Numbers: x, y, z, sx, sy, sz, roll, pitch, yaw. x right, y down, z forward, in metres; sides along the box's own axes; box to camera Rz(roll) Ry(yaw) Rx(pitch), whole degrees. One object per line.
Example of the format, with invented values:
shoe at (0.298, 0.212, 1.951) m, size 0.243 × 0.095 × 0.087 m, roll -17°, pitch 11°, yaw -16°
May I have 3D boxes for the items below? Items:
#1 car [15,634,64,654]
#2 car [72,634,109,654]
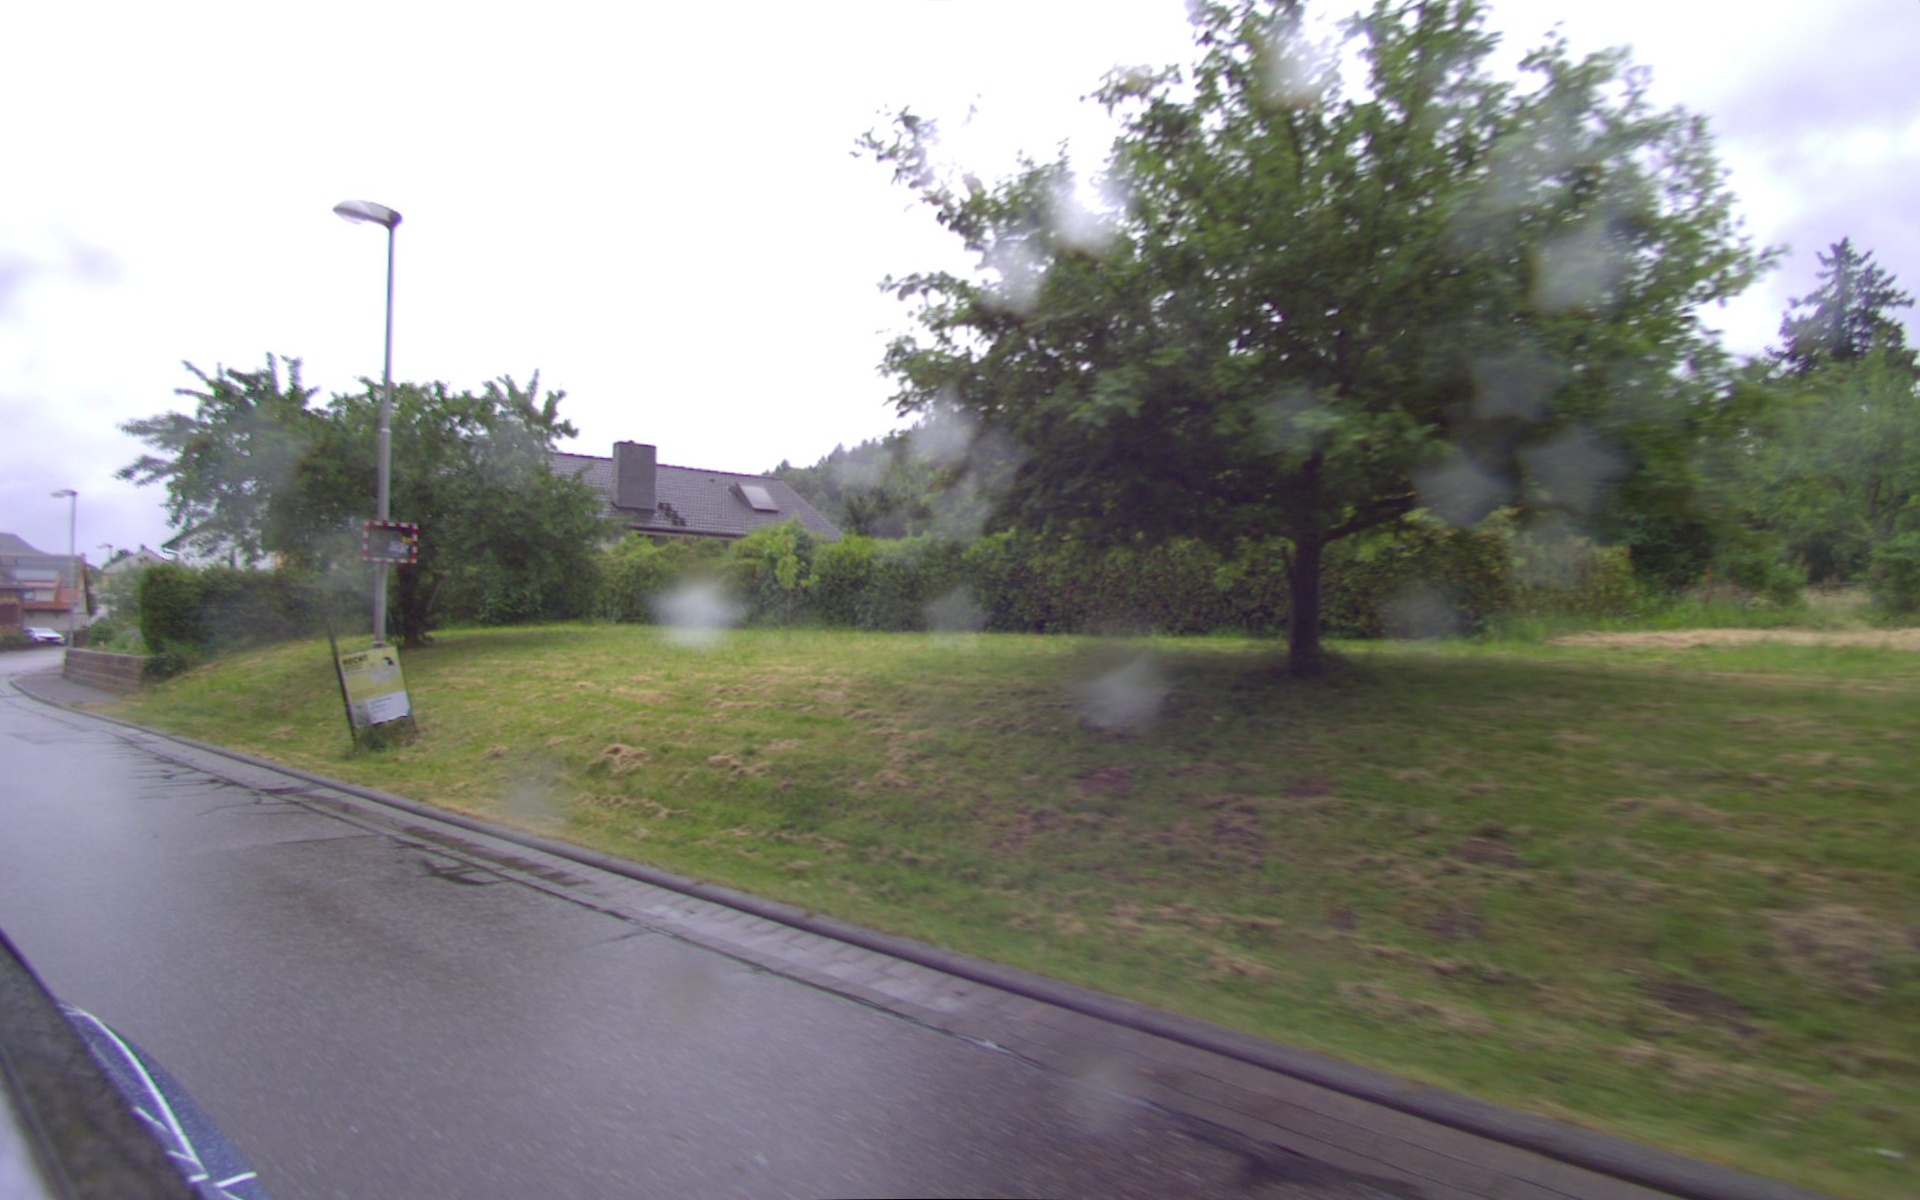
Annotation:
car at (-77.626, 3.745, 85.373) m, size 3.873 × 1.587 × 1.873 m, roll -2°, pitch 0°, yaw 28°
car at (-70.403, 3.554, 82.011) m, size 1.676 × 1.559 × 3.861 m, roll 4°, pitch -4°, yaw -33°
